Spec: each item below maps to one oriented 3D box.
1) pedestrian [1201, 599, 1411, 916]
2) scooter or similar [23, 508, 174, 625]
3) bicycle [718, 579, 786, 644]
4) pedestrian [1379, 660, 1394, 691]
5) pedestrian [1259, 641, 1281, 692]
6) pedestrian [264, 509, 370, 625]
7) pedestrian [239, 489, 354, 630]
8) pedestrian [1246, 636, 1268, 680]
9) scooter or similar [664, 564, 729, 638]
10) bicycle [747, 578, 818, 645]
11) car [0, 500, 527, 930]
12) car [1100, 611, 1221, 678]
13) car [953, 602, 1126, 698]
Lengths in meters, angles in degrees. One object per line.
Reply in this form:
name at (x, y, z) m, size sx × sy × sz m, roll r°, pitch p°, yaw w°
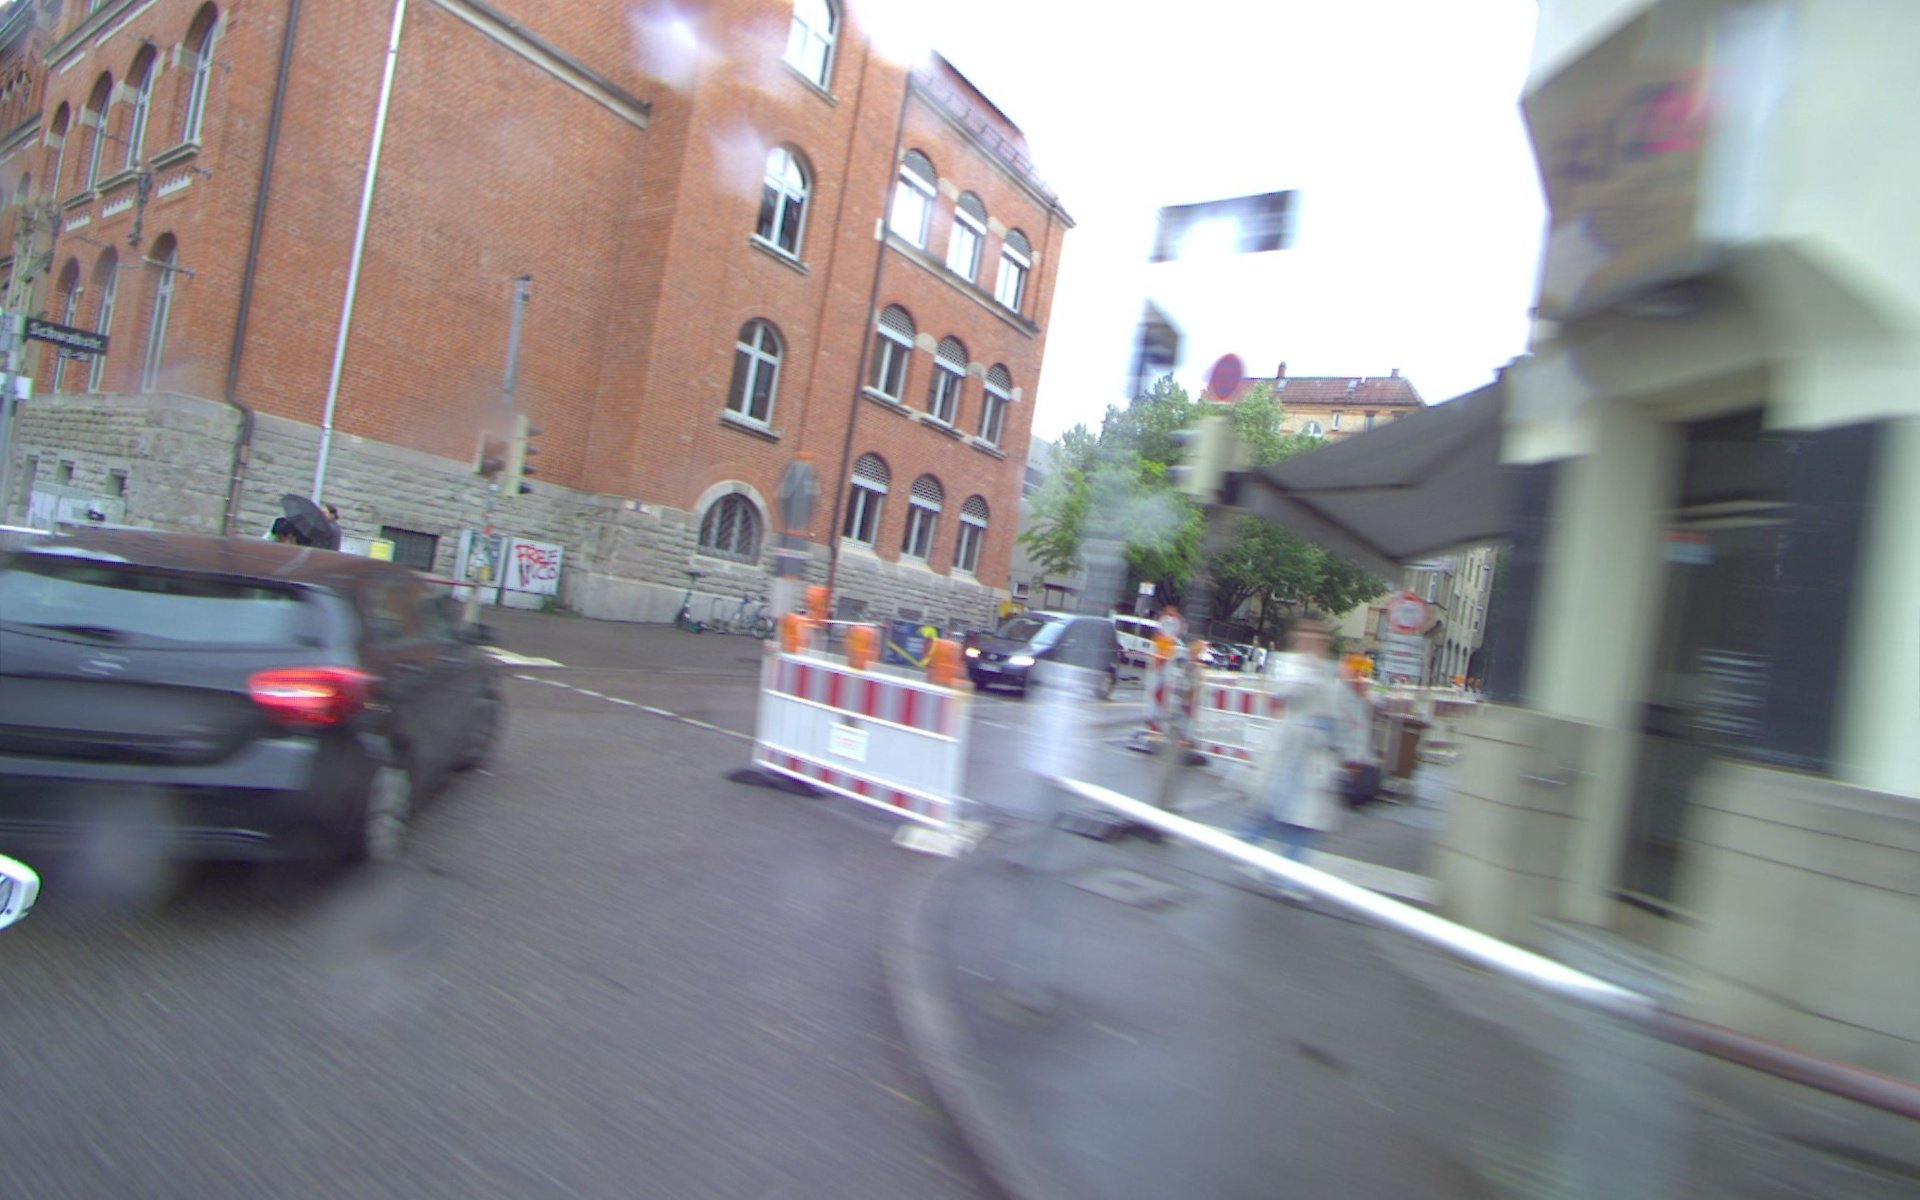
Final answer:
pedestrian at (2.190, 0.937, 6.326) m, size 0.979 × 1.724 × 0.781 m, roll 6°, pitch -2°, yaw 26°
scooter or similar at (-10.664, -0.408, 12.507) m, size 1.238 × 1.266 × 0.633 m, roll 7°, pitch 0°, yaw -32°
bicycle at (-4.876, 0.256, 23.531) m, size 1.640 × 1.219 × 0.413 m, roll 13°, pitch 6°, yaw 35°
pedestrian at (23.793, 4.204, 56.127) m, size 0.522 × 1.690 × 0.546 m, roll 7°, pitch 0°, yaw 33°
pedestrian at (12.133, 2.603, 39.357) m, size 0.428 × 1.920 × 0.536 m, roll 7°, pitch -1°, yaw 36°
pedestrian at (-10.095, -0.516, 15.800) m, size 1.057 × 1.645 × 0.958 m, roll 7°, pitch 0°, yaw 36°
pedestrian at (-9.801, -0.589, 14.874) m, size 1.057 × 1.911 × 0.958 m, roll 7°, pitch 1°, yaw 36°
pedestrian at (11.725, 2.298, 39.687) m, size 0.484 × 1.638 × 0.524 m, roll 7°, pitch -1°, yaw 36°
scooter or similar at (-5.860, 0.010, 22.316) m, size 1.495 × 1.436 × 0.408 m, roll 8°, pitch 1°, yaw 38°
bicycle at (-4.312, 0.270, 24.365) m, size 1.811 × 1.262 × 0.343 m, roll 14°, pitch 6°, yaw 35°
car at (-3.671, 0.361, 5.472) m, size 1.774 × 1.391 × 3.985 m, roll 9°, pitch 0°, yaw -16°
car at (7.822, 1.747, 39.319) m, size 3.952 × 2.037 × 1.996 m, roll 7°, pitch -1°, yaw 35°
car at (1.803, 1.079, 21.609) m, size 1.708 × 1.719 × 3.984 m, roll 7°, pitch 1°, yaw 37°
